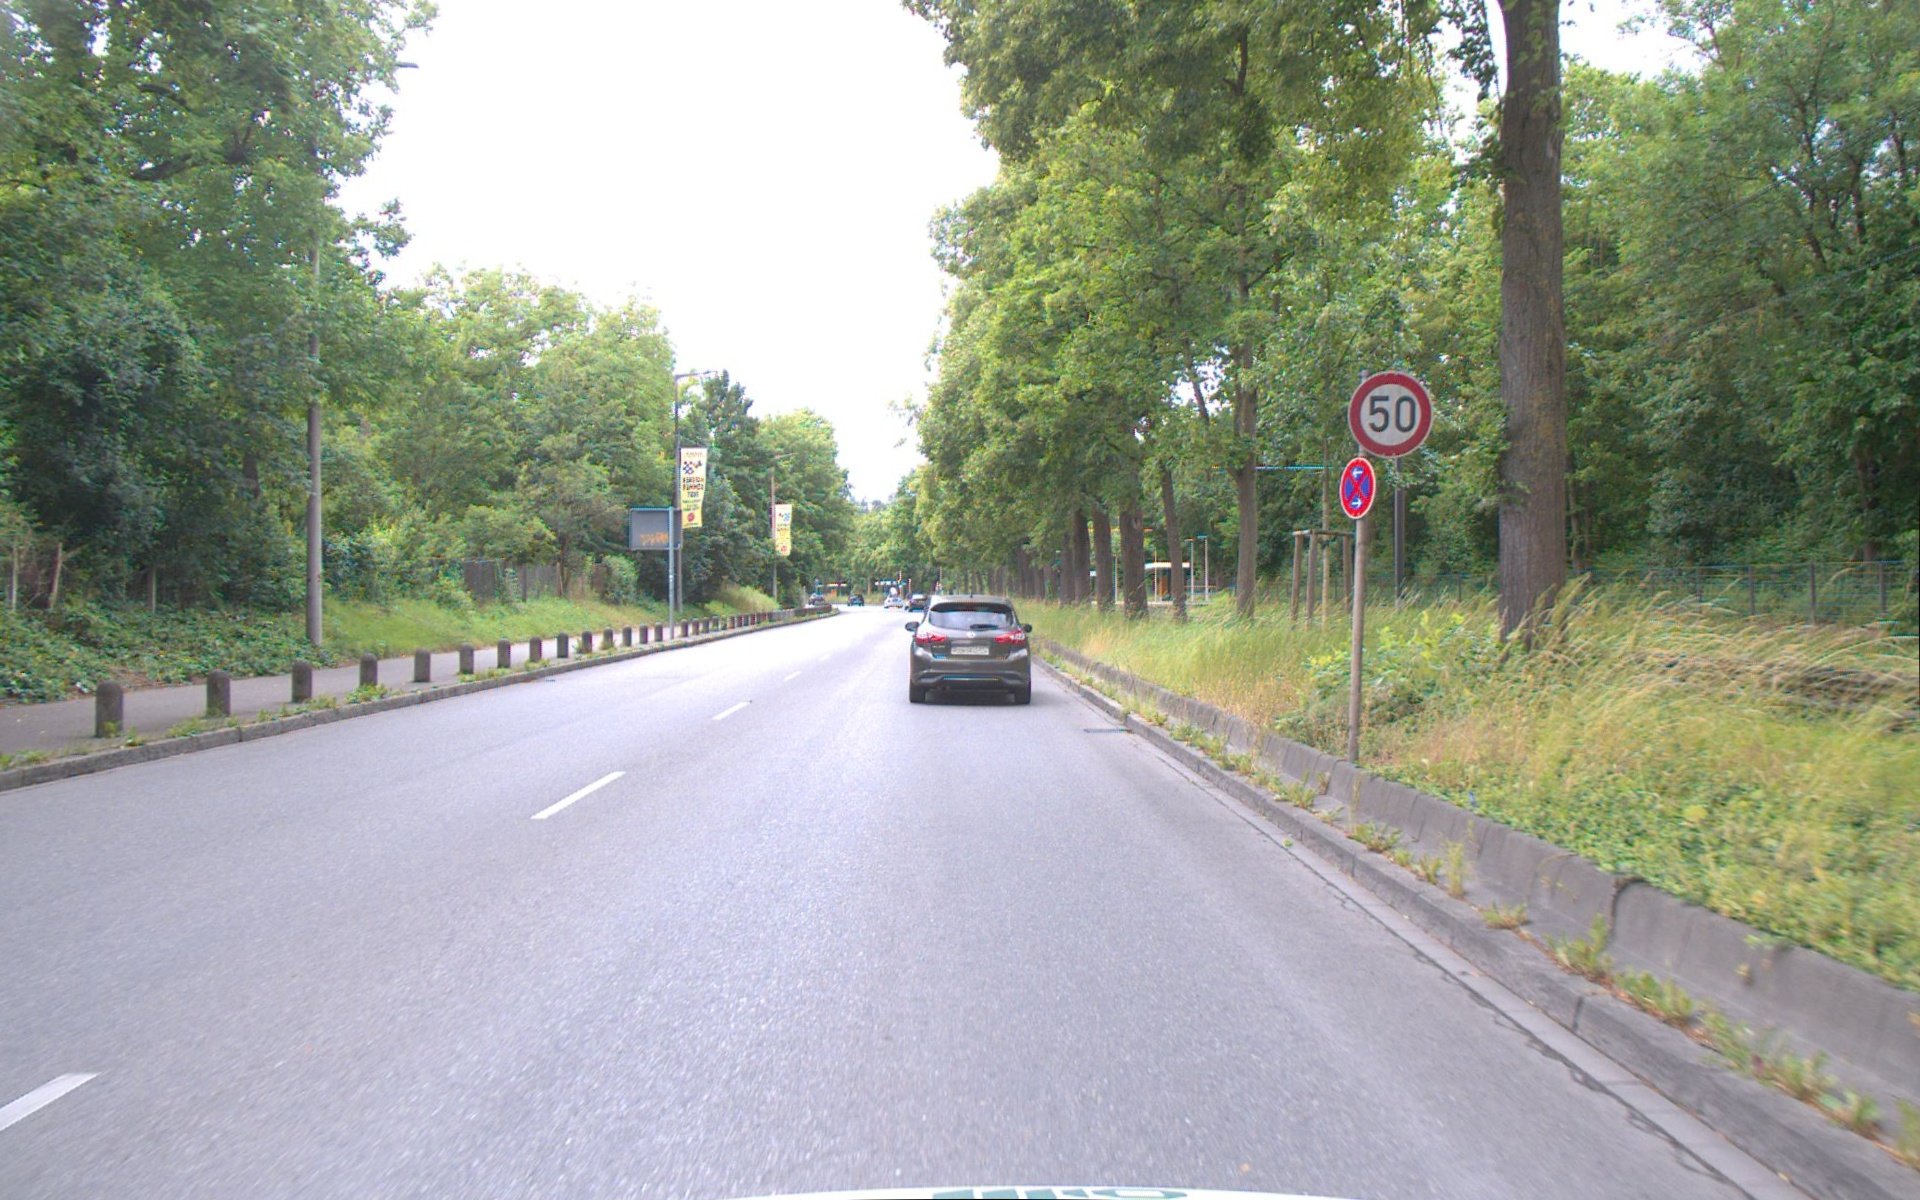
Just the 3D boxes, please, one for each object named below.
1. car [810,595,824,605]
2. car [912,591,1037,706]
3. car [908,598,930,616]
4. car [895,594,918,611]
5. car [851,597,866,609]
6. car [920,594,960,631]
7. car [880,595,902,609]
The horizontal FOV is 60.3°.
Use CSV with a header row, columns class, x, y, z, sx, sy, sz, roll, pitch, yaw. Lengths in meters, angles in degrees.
class,x,y,z,sx,sy,sz,roll,pitch,yaw
car,-21.019,-0.011,243.459,1.535,1.466,3.539,1,0,-13
car,0.152,0.664,24.610,1.695,1.564,3.550,1,0,-2
car,-3.428,0.561,137.045,1.531,1.466,3.547,1,0,-6
car,-4.974,0.233,153.264,1.534,1.466,3.541,1,0,-12
car,-12.962,0.388,210.981,1.533,1.466,3.542,1,0,-11
car,-0.904,0.547,74.075,1.695,1.564,3.550,1,0,-2
car,-7.297,0.220,175.278,1.536,1.466,3.537,1,0,-15
